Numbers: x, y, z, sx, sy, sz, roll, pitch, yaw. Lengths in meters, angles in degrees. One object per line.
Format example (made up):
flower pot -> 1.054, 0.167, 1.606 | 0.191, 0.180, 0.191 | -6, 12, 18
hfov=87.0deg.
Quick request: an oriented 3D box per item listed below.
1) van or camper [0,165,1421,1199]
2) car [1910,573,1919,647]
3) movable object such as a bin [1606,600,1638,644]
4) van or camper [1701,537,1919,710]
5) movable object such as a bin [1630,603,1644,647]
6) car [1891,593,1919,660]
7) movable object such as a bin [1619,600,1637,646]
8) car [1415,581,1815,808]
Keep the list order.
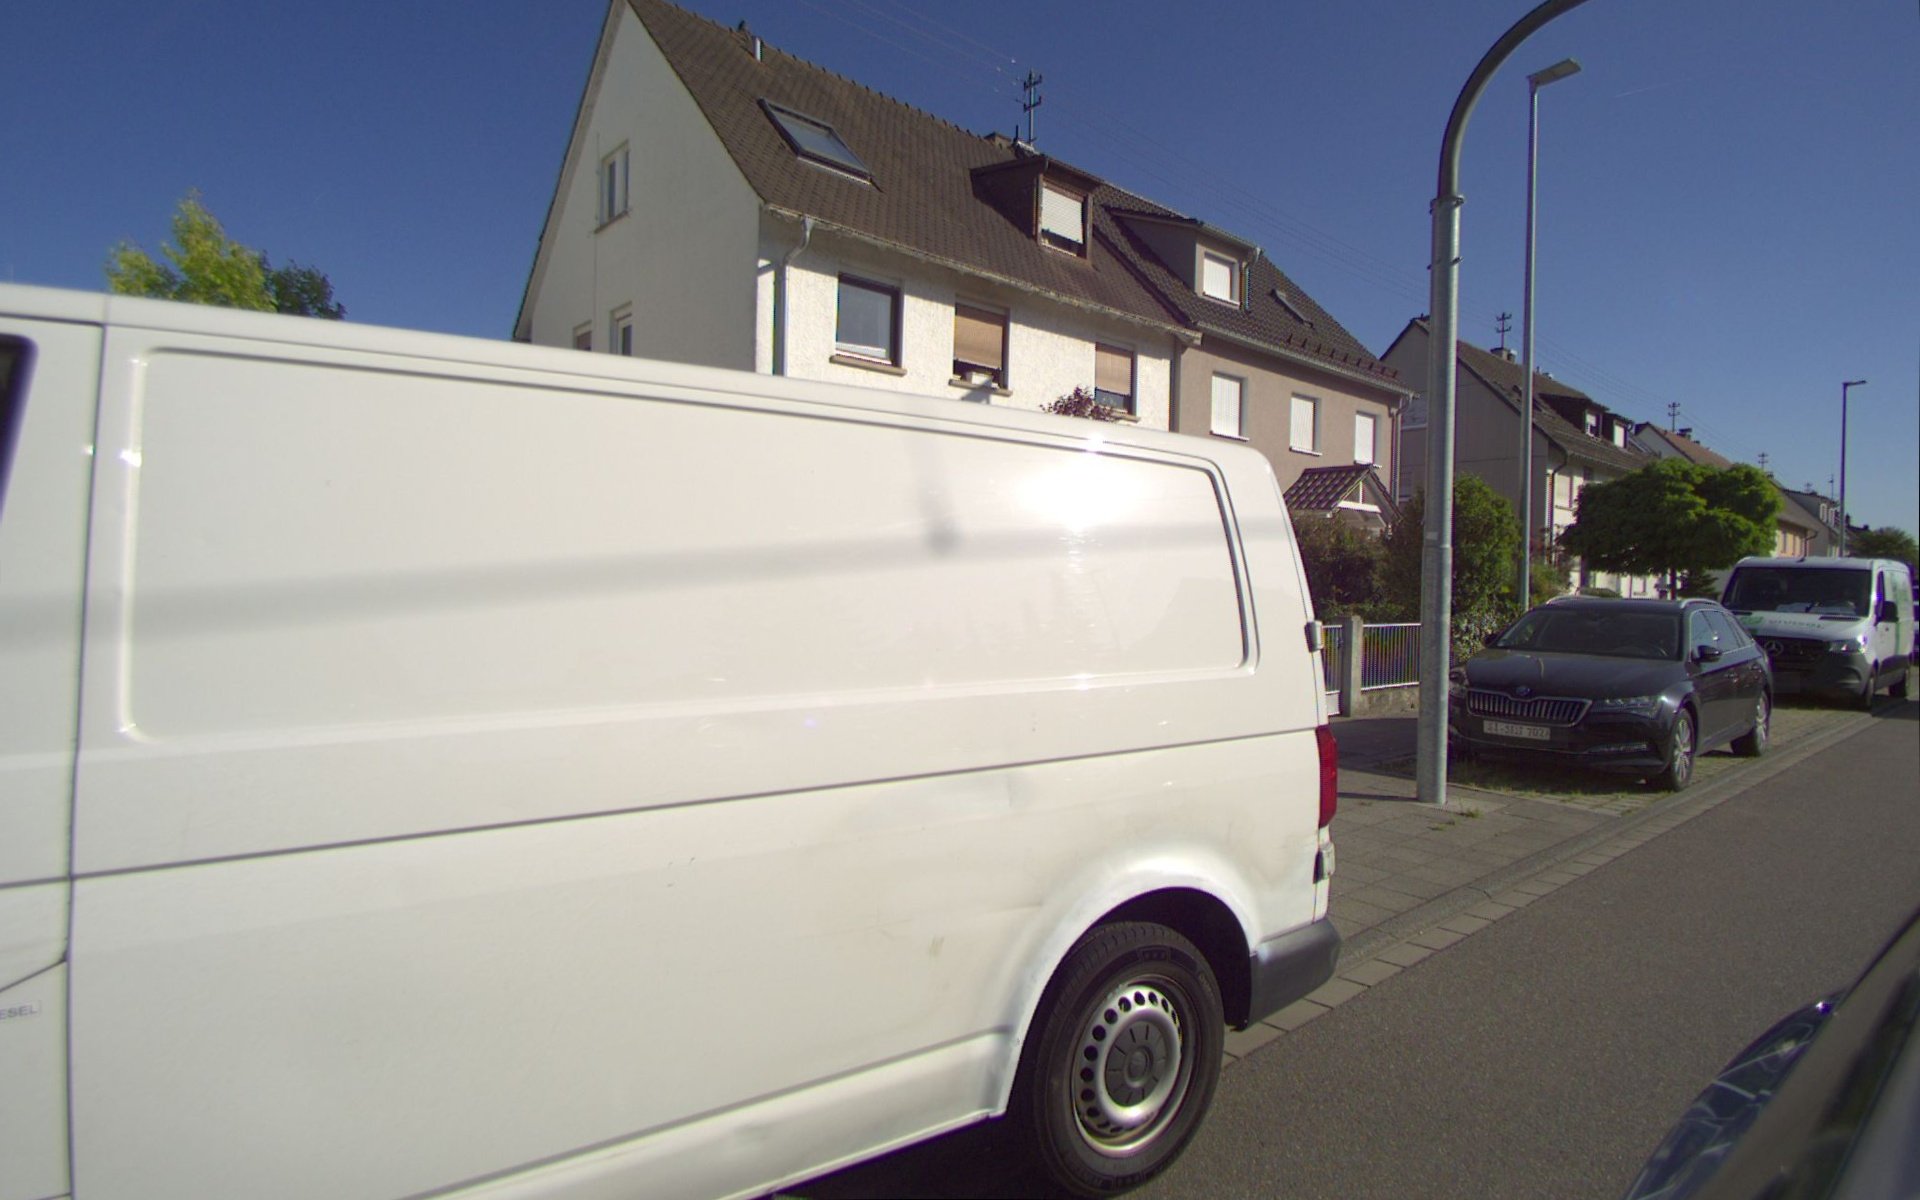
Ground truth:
van or camper -> -1.393, 0.411, 2.396 | 5.192, 1.981, 2.036 | 1, 1, -33
car -> 30.527, 0.323, 30.688 | 5.243, 2.170, 1.963 | 0, 3, -42
movable object such as a bin -> 16.372, 0.535, 25.029 | 0.456, 1.057, 0.516 | 1, 1, -41
van or camper -> 14.076, 0.253, 16.356 | 6.195, 2.298, 1.998 | 0, 3, -41
movable object such as a bin -> 16.712, 0.617, 24.983 | 0.212, 1.076, 0.320 | 1, 1, 19
car -> 26.213, 0.694, 26.868 | 4.244, 1.665, 1.729 | 0, 3, -42
movable object such as a bin -> 16.392, 0.549, 24.832 | 0.276, 1.109, 0.328 | 1, 1, 20
car -> 6.278, 0.633, 9.402 | 5.065, 1.512, 1.752 | 0, 3, -41
